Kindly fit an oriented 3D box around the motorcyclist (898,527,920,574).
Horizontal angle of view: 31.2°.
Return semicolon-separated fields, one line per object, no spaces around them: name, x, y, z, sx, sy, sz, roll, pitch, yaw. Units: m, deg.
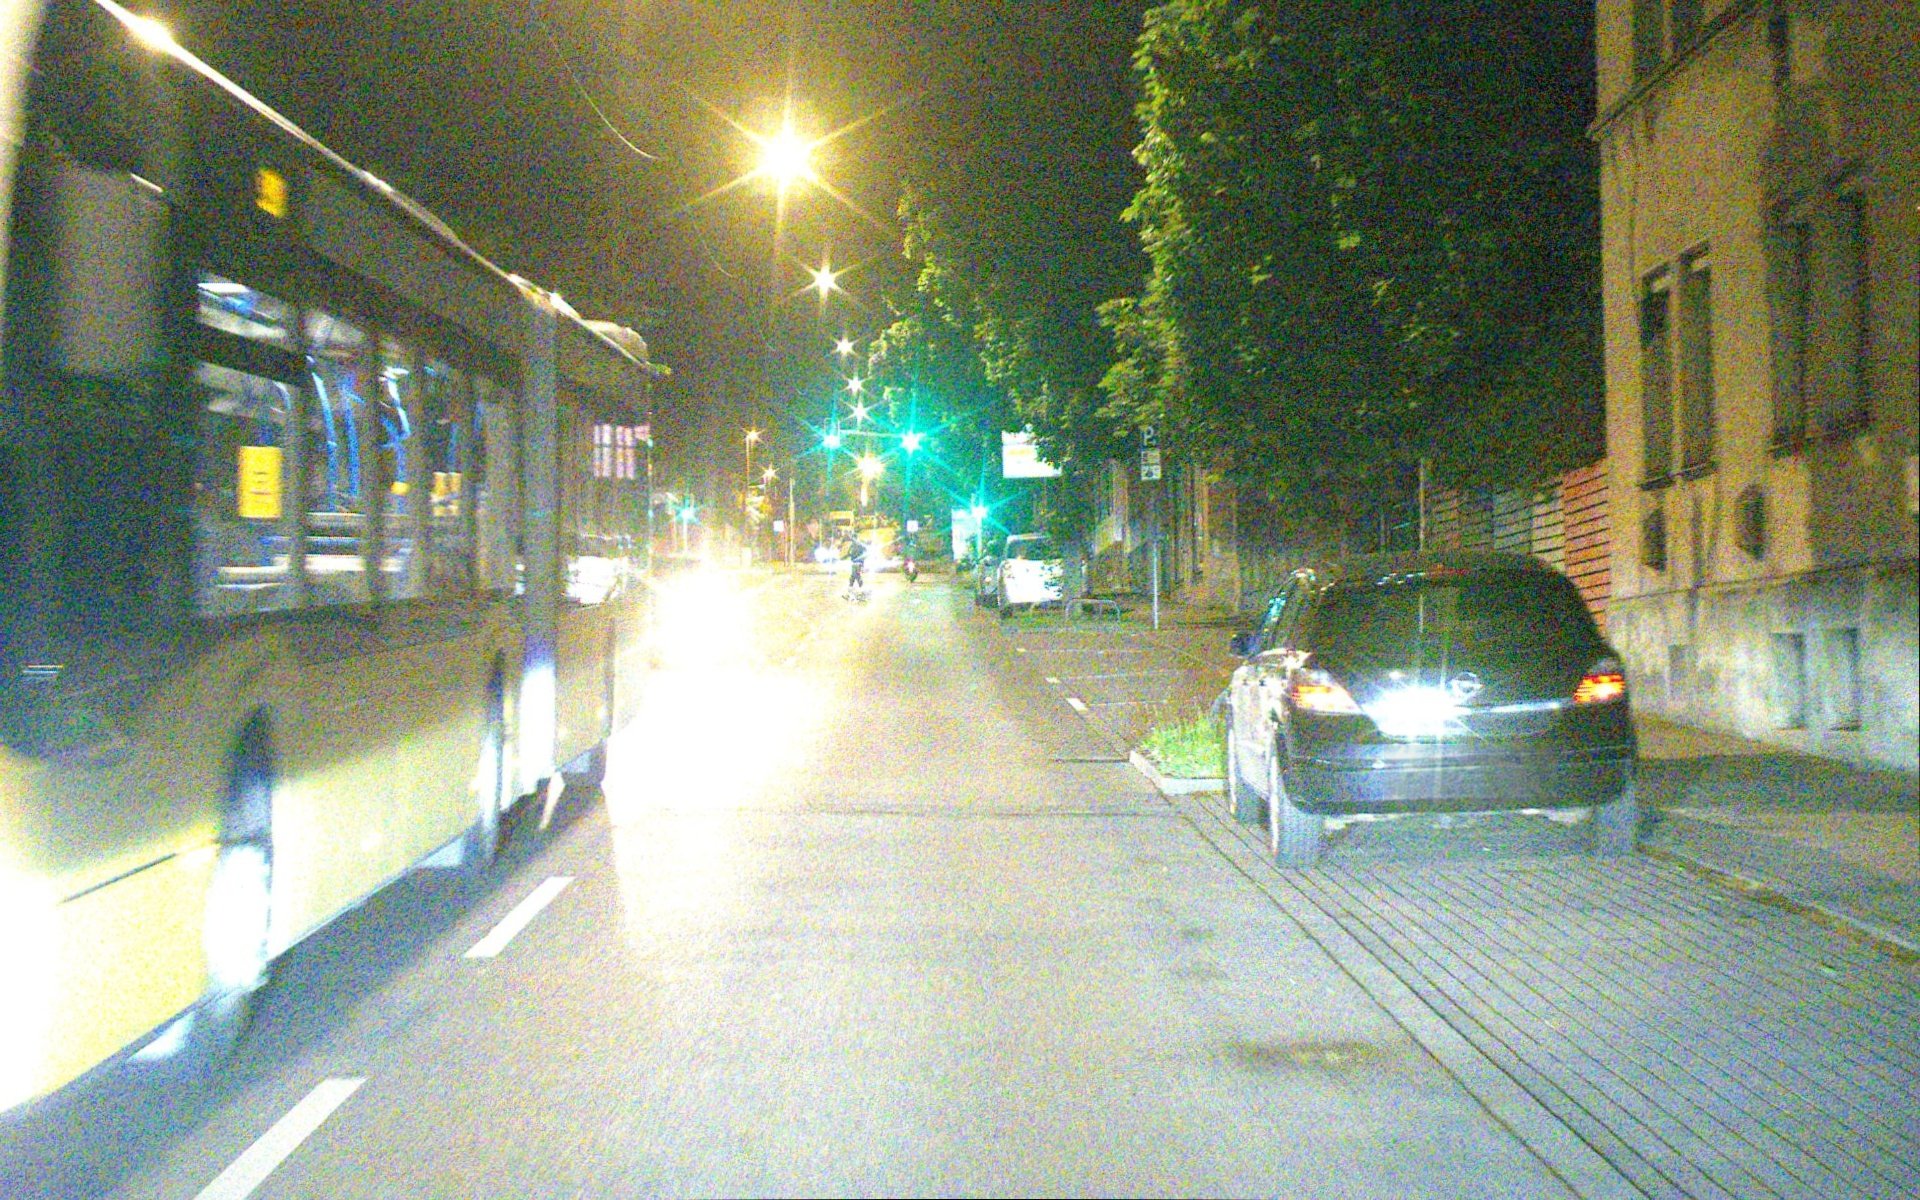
motorcyclist;-1.910;-1.852;128.989;0.848;1.746;0.805;0;0;-1

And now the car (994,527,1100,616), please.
car;1.638;-0.578;66.100;1.812;1.588;4.274;-2;1;-1

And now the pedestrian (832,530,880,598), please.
pedestrian;-2.658;-0.911;88.102;0.924;1.694;0.767;2;1;-28

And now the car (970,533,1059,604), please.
car;1.243;-0.746;79.536;1.868;1.521;4.150;-2;1;-1

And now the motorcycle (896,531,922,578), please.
motorcycle;-1.908;-1.695;128.995;0.931;1.746;2.625;0;0;-1

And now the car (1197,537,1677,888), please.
car;2.269;0.466;17.372;1.763;1.471;4.080;-2;1;-1

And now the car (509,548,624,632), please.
car;-7.062;-0.204;62.028;1.721;1.432;4.811;-1;1;-3

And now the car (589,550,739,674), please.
car;-3.690;0.113;43.384;1.645;1.417;3.871;-2;1;-2

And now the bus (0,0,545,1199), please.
bus;-3.410;-0.255;11.878;2.837;3.166;10.499;0;1;-1

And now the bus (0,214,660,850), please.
bus;-3.551;-0.415;20.990;2.837;3.166;7.661;0;1;-1

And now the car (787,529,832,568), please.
car;-6.872;-2.358;157.464;1.944;1.711;4.000;0;0;-1
